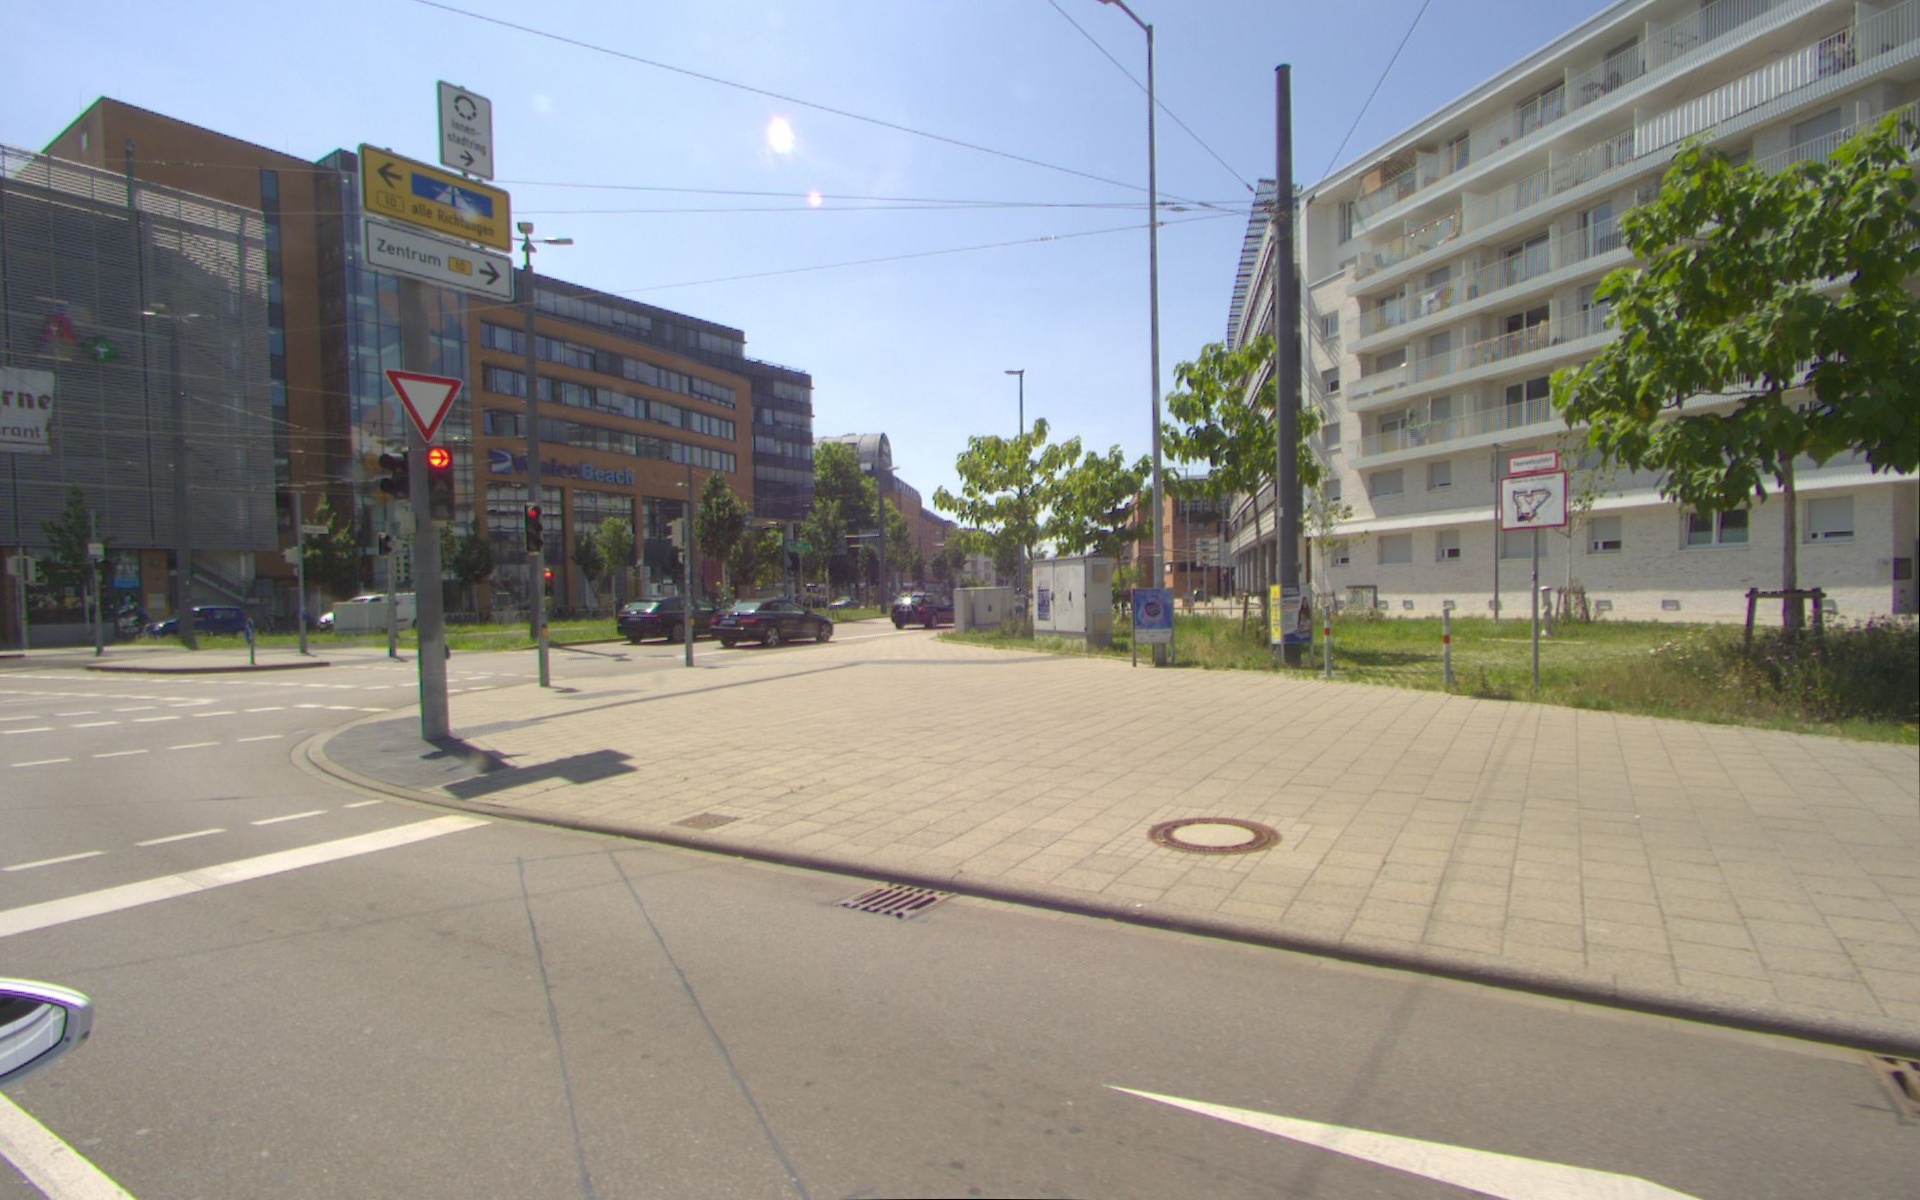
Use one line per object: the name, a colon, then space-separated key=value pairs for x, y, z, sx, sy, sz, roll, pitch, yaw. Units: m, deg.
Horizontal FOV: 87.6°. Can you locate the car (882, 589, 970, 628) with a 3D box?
car: x=-1.368 y=0.326 z=42.535 sx=1.813 sy=1.528 sz=4.523 roll=0 pitch=1 yaw=26

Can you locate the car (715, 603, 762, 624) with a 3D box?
car: x=-17.172 y=1.051 z=77.693 sx=1.655 sy=1.550 sz=3.991 roll=0 pitch=0 yaw=21

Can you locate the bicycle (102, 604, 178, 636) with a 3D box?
bicycle: x=-40.913 y=0.991 z=50.009 sx=0.695 sy=1.578 sz=2.840 roll=1 pitch=0 yaw=36

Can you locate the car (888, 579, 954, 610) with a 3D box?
car: x=-1.931 y=-0.262 z=50.789 sx=1.811 sy=1.528 sz=4.128 roll=0 pitch=0 yaw=22

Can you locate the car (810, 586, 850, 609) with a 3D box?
car: x=-12.113 y=-0.203 z=93.480 sx=1.966 sy=2.040 sz=3.988 roll=0 pitch=0 yaw=23

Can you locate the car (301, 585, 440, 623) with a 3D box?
car: x=-27.755 y=0.186 z=47.396 sx=1.969 sy=1.690 sz=5.459 roll=0 pitch=0 yaw=28

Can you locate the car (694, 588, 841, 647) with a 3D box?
car: x=-5.751 y=0.466 z=30.550 sx=1.969 sy=1.598 sz=4.542 roll=0 pitch=2 yaw=28

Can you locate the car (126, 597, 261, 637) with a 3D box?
car: x=-31.108 y=0.668 z=40.738 sx=1.854 sy=1.559 sz=3.980 roll=0 pitch=0 yaw=31

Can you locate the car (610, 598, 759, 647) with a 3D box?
car: x=-8.841 y=0.684 z=32.529 sx=1.860 sy=1.479 sz=4.757 roll=0 pitch=0 yaw=30

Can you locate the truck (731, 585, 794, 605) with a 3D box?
truck: x=-29.016 y=-0.690 z=147.128 sx=9.067 sy=2.846 sz=1.998 roll=0 pitch=0 yaw=13

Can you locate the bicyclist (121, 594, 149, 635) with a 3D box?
bicyclist: x=-41.016 y=0.704 z=49.812 sx=0.738 sy=2.040 sz=0.909 roll=1 pitch=1 yaw=35
